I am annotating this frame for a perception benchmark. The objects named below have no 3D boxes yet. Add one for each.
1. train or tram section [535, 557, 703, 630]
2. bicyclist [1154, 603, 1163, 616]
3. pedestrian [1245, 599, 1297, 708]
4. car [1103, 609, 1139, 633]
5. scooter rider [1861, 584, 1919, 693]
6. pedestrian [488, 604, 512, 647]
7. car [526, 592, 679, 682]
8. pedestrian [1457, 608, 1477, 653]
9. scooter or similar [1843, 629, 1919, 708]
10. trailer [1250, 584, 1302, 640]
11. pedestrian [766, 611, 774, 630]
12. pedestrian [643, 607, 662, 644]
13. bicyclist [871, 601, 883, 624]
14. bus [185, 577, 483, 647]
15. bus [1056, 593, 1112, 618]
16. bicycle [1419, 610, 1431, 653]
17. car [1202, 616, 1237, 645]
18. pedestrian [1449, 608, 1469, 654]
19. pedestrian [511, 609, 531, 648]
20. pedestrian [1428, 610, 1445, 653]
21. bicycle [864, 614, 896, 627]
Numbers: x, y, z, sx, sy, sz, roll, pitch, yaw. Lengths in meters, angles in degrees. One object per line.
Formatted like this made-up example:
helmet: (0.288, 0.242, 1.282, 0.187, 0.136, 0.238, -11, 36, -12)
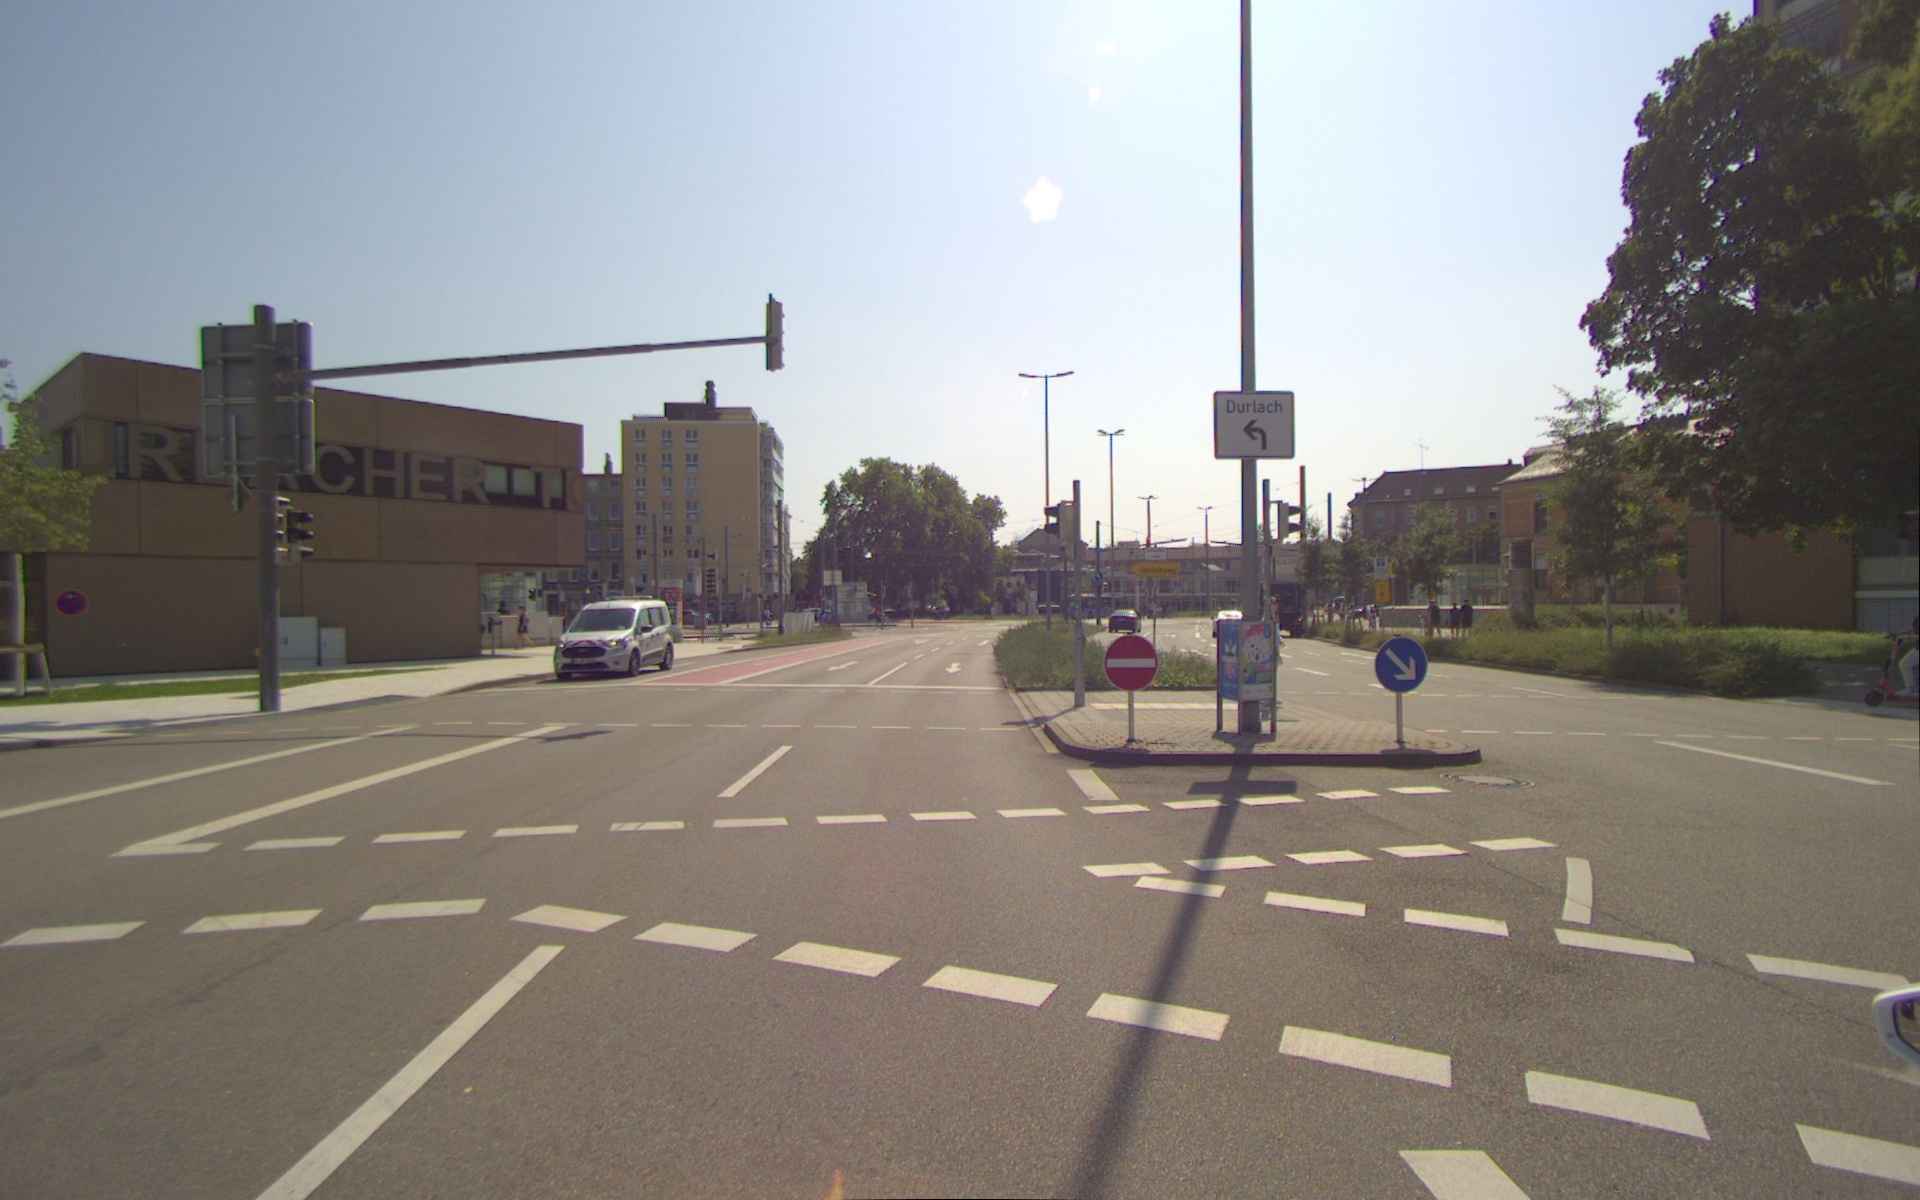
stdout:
train or tram section: (-18.335, -0.393, 54.548, 3.097, 3.617, 8.208, -2, 0, 38)
bicyclist: (23.050, 1.139, 116.670, 0.889, 1.521, 0.864, -1, 0, -6)
pedestrian: (5.045, 0.844, 16.289, 0.687, 1.717, 0.606, -1, 0, 28)
car: (10.019, 1.292, 62.455, 1.728, 1.423, 3.982, 1, 0, 16)
scooter rider: (15.557, 0.620, 16.598, 0.790, 1.762, 0.688, -1, 0, 25)
pedestrian: (-18.995, 1.045, 41.479, 0.684, 1.787, 0.550, -1, 0, 26)
car: (-8.427, 0.825, 24.149, 1.960, 1.884, 4.334, -3, 0, 1)
pedestrian: (22.750, 1.360, 45.071, 0.766, 1.999, 0.752, 0, 0, 27)
scooter or similar: (15.615, 1.125, 16.634, 1.342, 1.251, 0.585, -1, 0, 25)
trailer: (18.386, 0.661, 58.735, 2.421, 3.048, 6.328, 1, 0, 13)
pedestrian: (-17.380, 1.862, 91.775, 0.638, 1.654, 0.814, 0, 0, -5)
pedestrian: (-14.533, 1.208, 47.502, 0.634, 1.725, 0.809, 0, 0, 0)
bicyclist: (-6.197, 0.928, 75.044, 0.825, 1.664, 0.606, 0, 0, -6)
bus: (-30.861, 0.550, 50.425, 3.059, 3.111, 12.427, -1, -1, 39)
bus: (15.901, 0.691, 128.158, 3.008, 2.970, 11.833, 0, 0, 28)
bicycle: (20.712, 1.395, 44.741, 0.448, 1.885, 1.362, 0, 0, 24)
car: (14.421, 1.671, 55.916, 1.728, 1.474, 4.428, 1, 0, 13)
pedestrian: (22.056, 1.349, 44.405, 0.766, 1.999, 0.752, 0, 0, 27)
pedestrian: (-17.498, 1.137, 40.052, 0.484, 1.559, 0.569, -1, 0, 38)
pedestrian: (21.262, 1.386, 44.806, 0.650, 1.885, 0.792, -1, 0, 26)
bicycle: (-6.008, 1.545, 75.065, 2.371, 0.966, 0.603, -1, 0, -5)
